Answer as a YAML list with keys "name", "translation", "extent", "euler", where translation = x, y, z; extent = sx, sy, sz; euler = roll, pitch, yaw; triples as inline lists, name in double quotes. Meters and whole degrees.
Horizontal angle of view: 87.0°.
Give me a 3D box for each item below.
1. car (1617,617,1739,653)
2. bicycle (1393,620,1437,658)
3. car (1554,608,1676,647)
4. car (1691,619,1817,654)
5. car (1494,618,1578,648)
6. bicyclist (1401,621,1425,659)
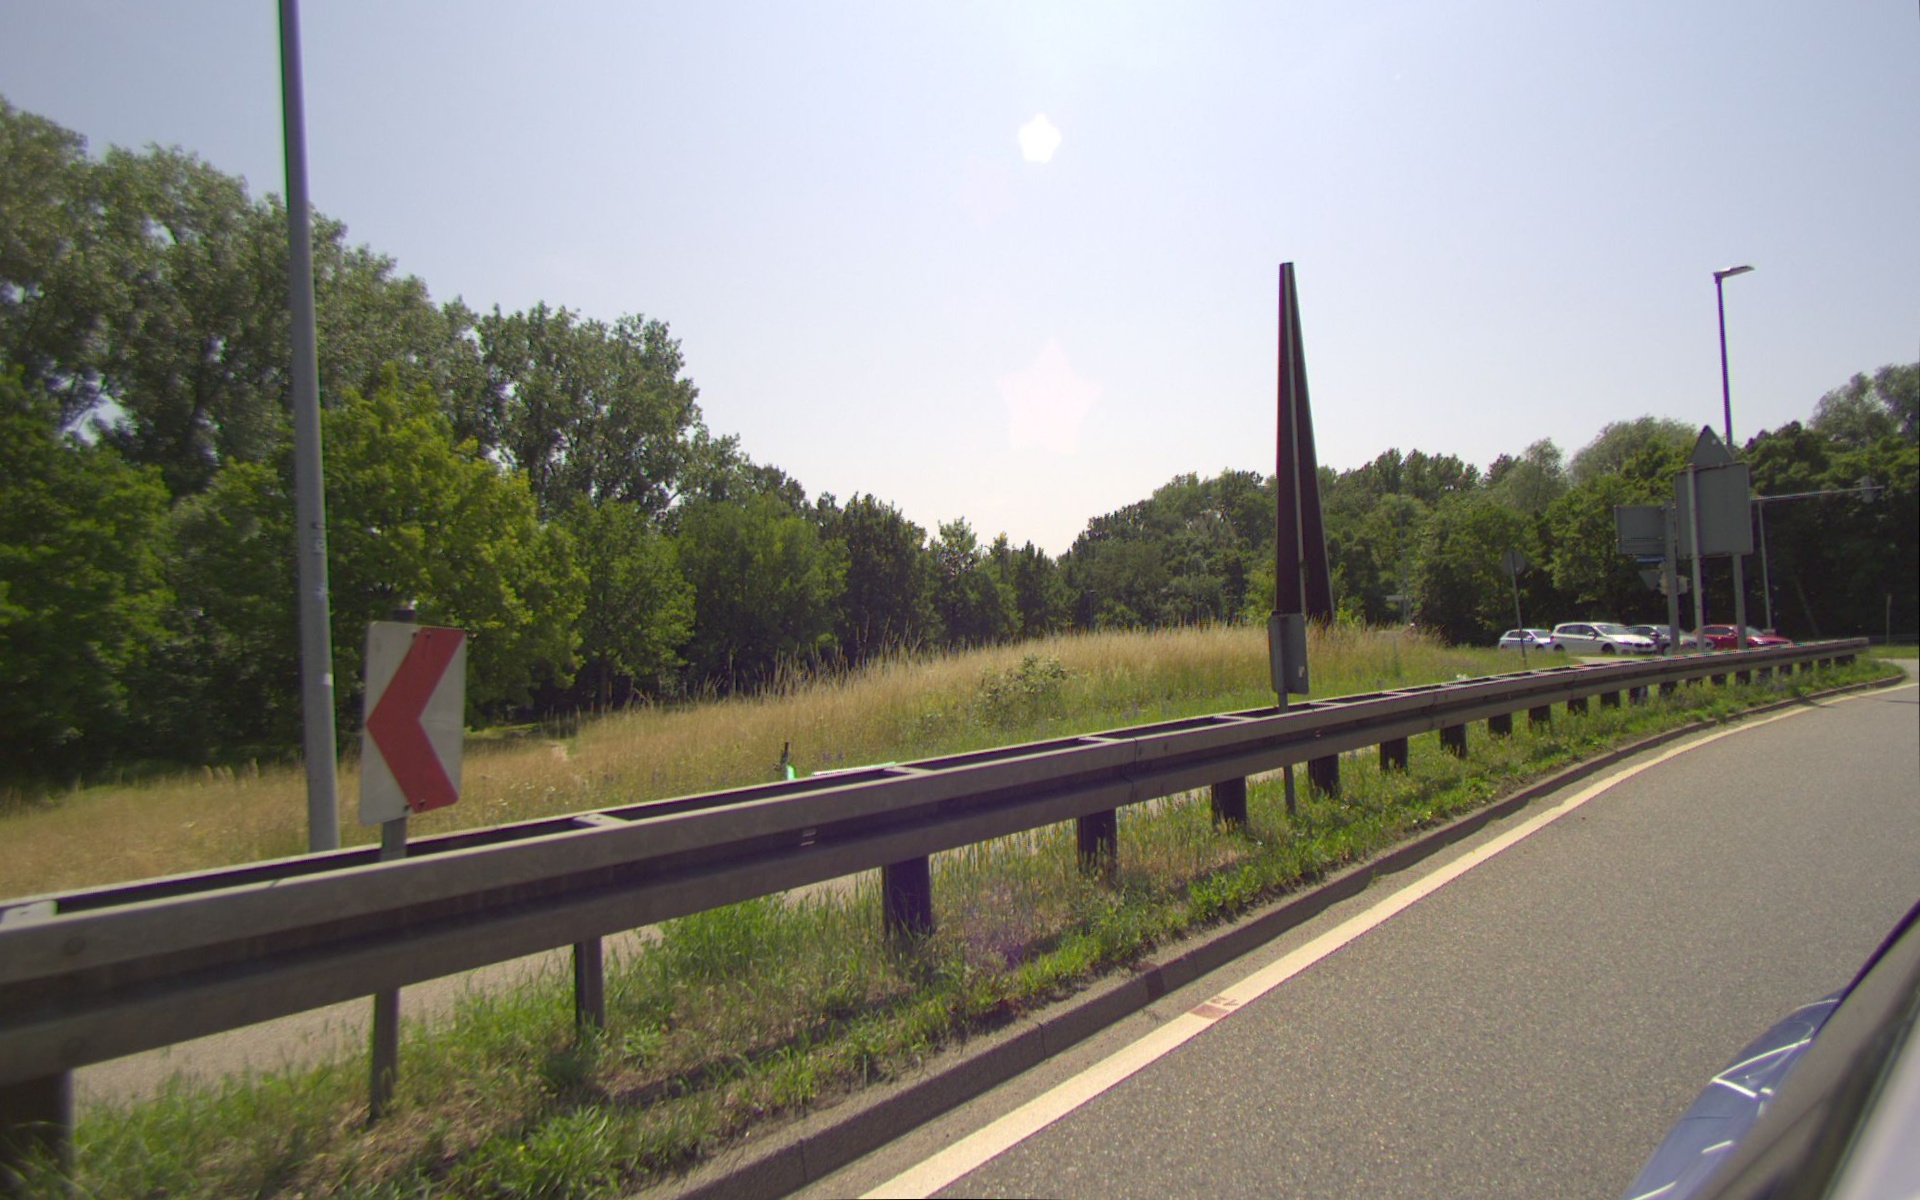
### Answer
- name: "car"
  translation: [30.581, 1.493, 43.276]
  extent: [1.830, 1.442, 4.190]
  euler: [-1, -2, -7]
- name: "bicycle"
  translation: [19.548, 1.664, 43.534]
  extent: [0.643, 1.594, 2.375]
  euler: [-1, -2, -3]
- name: "car"
  translation: [27.038, 1.145, 41.956]
  extent: [1.830, 1.526, 4.301]
  euler: [-1, -2, -7]
- name: "car"
  translation: [33.886, 1.552, 43.347]
  extent: [1.719, 1.372, 4.190]
  euler: [-1, -2, -7]
- name: "car"
  translation: [28.987, 1.648, 51.074]
  extent: [1.550, 1.449, 4.004]
  euler: [-1, -2, -8]
- name: "bicyclist"
  translation: [19.550, 1.704, 43.678]
  extent: [0.657, 1.620, 0.691]
  euler: [-1, -2, -2]
